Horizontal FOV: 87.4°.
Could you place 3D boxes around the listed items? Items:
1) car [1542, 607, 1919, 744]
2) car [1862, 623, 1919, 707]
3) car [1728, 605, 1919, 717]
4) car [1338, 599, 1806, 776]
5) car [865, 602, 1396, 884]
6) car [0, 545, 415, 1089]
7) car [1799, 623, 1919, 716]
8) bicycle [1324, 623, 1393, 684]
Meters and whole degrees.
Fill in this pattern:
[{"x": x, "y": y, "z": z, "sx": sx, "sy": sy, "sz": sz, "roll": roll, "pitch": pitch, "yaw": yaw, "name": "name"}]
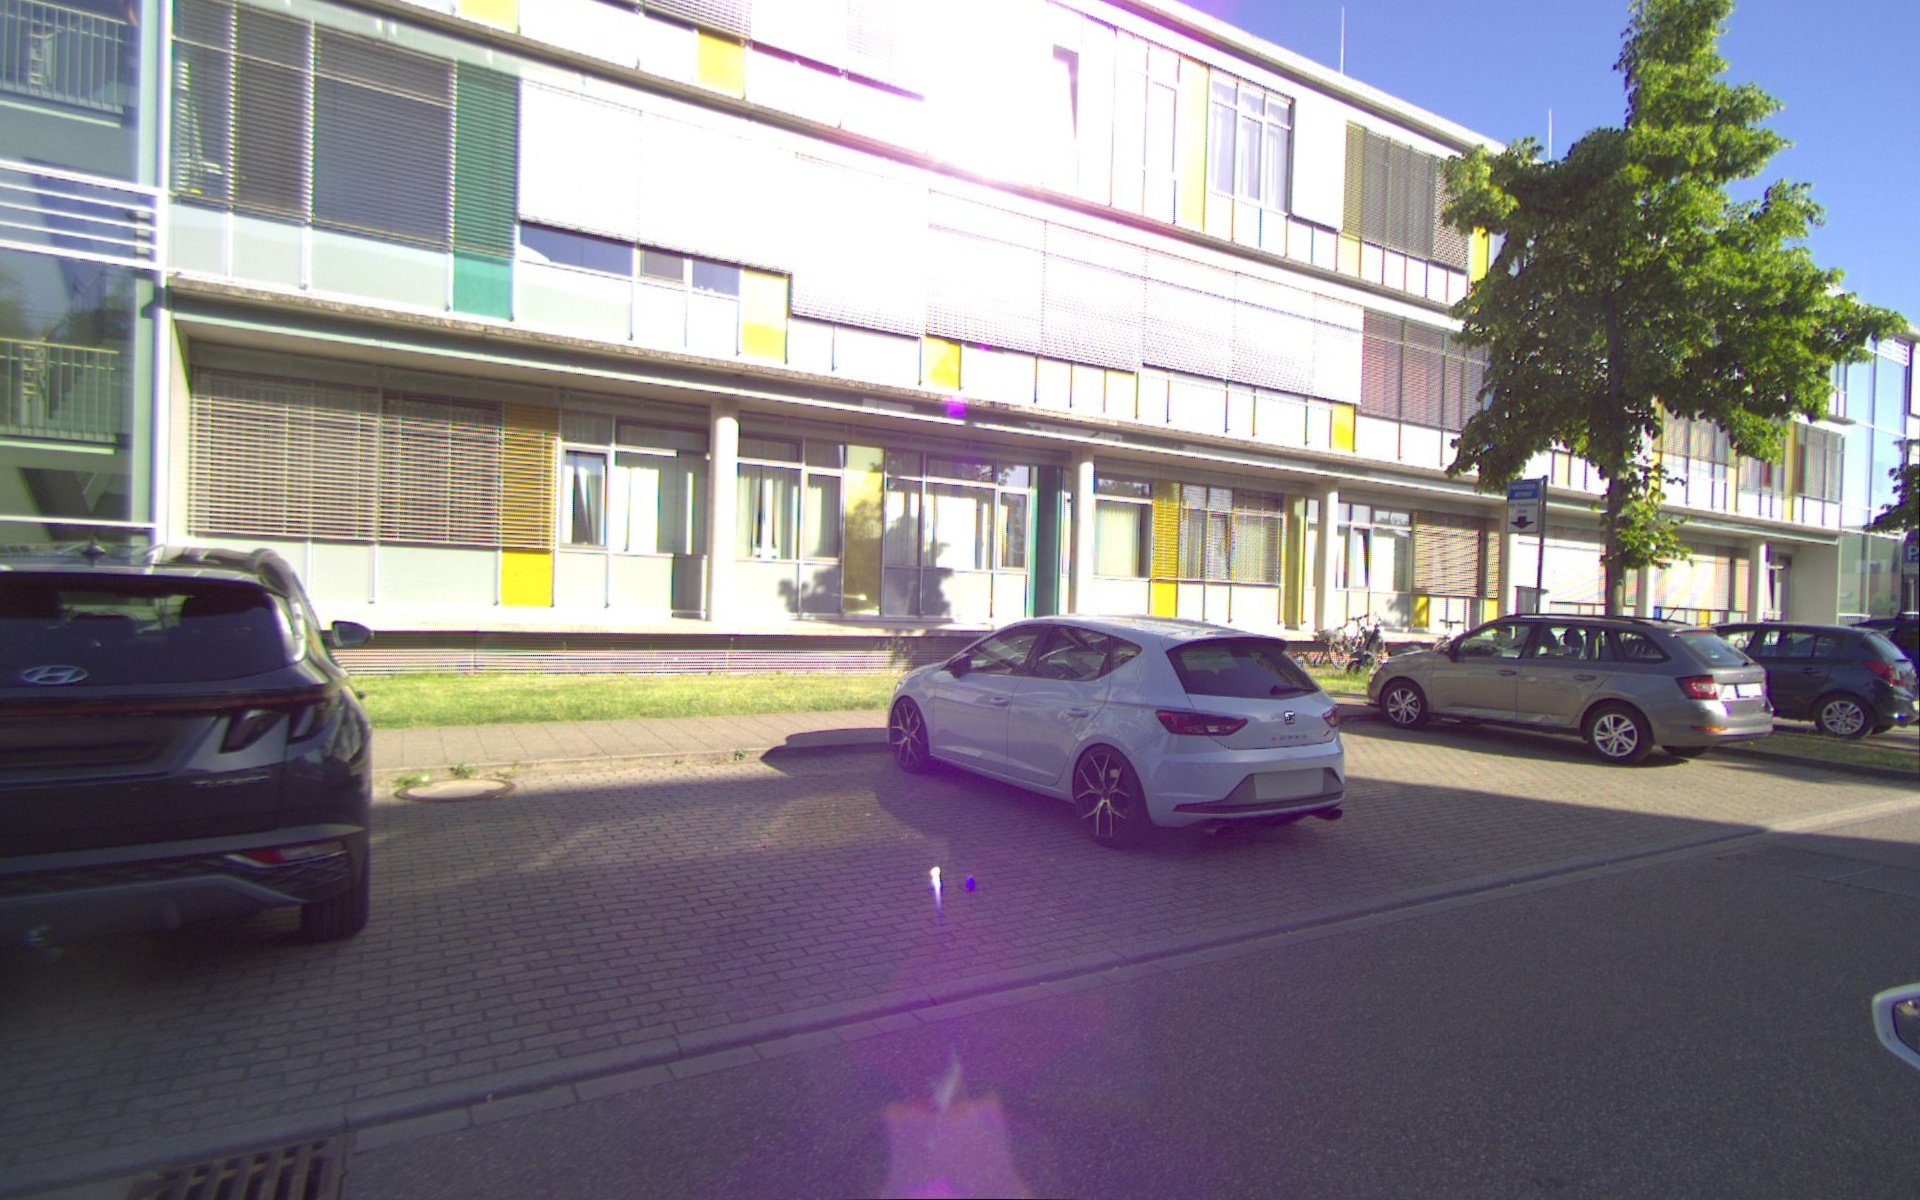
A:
[{"x": 11.162, "y": 0.967, "z": 14.664, "sx": 1.852, "sy": 1.506, "sz": 4.188, "roll": 1, "pitch": 1, "yaw": -33, "name": "car"}, {"x": 19.697, "y": 1.282, "z": 18.685, "sx": 1.978, "sy": 1.573, "sz": 3.965, "roll": 1, "pitch": 0, "yaw": -32, "name": "car"}, {"x": 15.435, "y": 0.998, "z": 16.394, "sx": 1.852, "sy": 1.624, "sz": 4.188, "roll": 1, "pitch": 2, "yaw": -33, "name": "car"}, {"x": 6.758, "y": 0.829, "z": 11.579, "sx": 1.852, "sy": 1.482, "sz": 4.188, "roll": 1, "pitch": 1, "yaw": -33, "name": "car"}, {"x": 0.975, "y": 0.804, "z": 7.616, "sx": 1.725, "sy": 1.377, "sz": 3.963, "roll": 1, "pitch": 1, "yaw": -33, "name": "car"}, {"x": -3.966, "y": 0.584, "z": 4.827, "sx": 2.026, "sy": 1.633, "sz": 4.221, "roll": 1, "pitch": 1, "yaw": -33, "name": "car"}, {"x": 17.494, "y": 1.238, "z": 17.546, "sx": 1.978, "sy": 1.572, "sz": 3.965, "roll": 1, "pitch": -1, "yaw": -32, "name": "car"}, {"x": 7.281, "y": 0.952, "z": 18.340, "sx": 0.761, "sy": 1.031, "sz": 1.369, "roll": 1, "pitch": 0, "yaw": 40, "name": "bicycle"}]
